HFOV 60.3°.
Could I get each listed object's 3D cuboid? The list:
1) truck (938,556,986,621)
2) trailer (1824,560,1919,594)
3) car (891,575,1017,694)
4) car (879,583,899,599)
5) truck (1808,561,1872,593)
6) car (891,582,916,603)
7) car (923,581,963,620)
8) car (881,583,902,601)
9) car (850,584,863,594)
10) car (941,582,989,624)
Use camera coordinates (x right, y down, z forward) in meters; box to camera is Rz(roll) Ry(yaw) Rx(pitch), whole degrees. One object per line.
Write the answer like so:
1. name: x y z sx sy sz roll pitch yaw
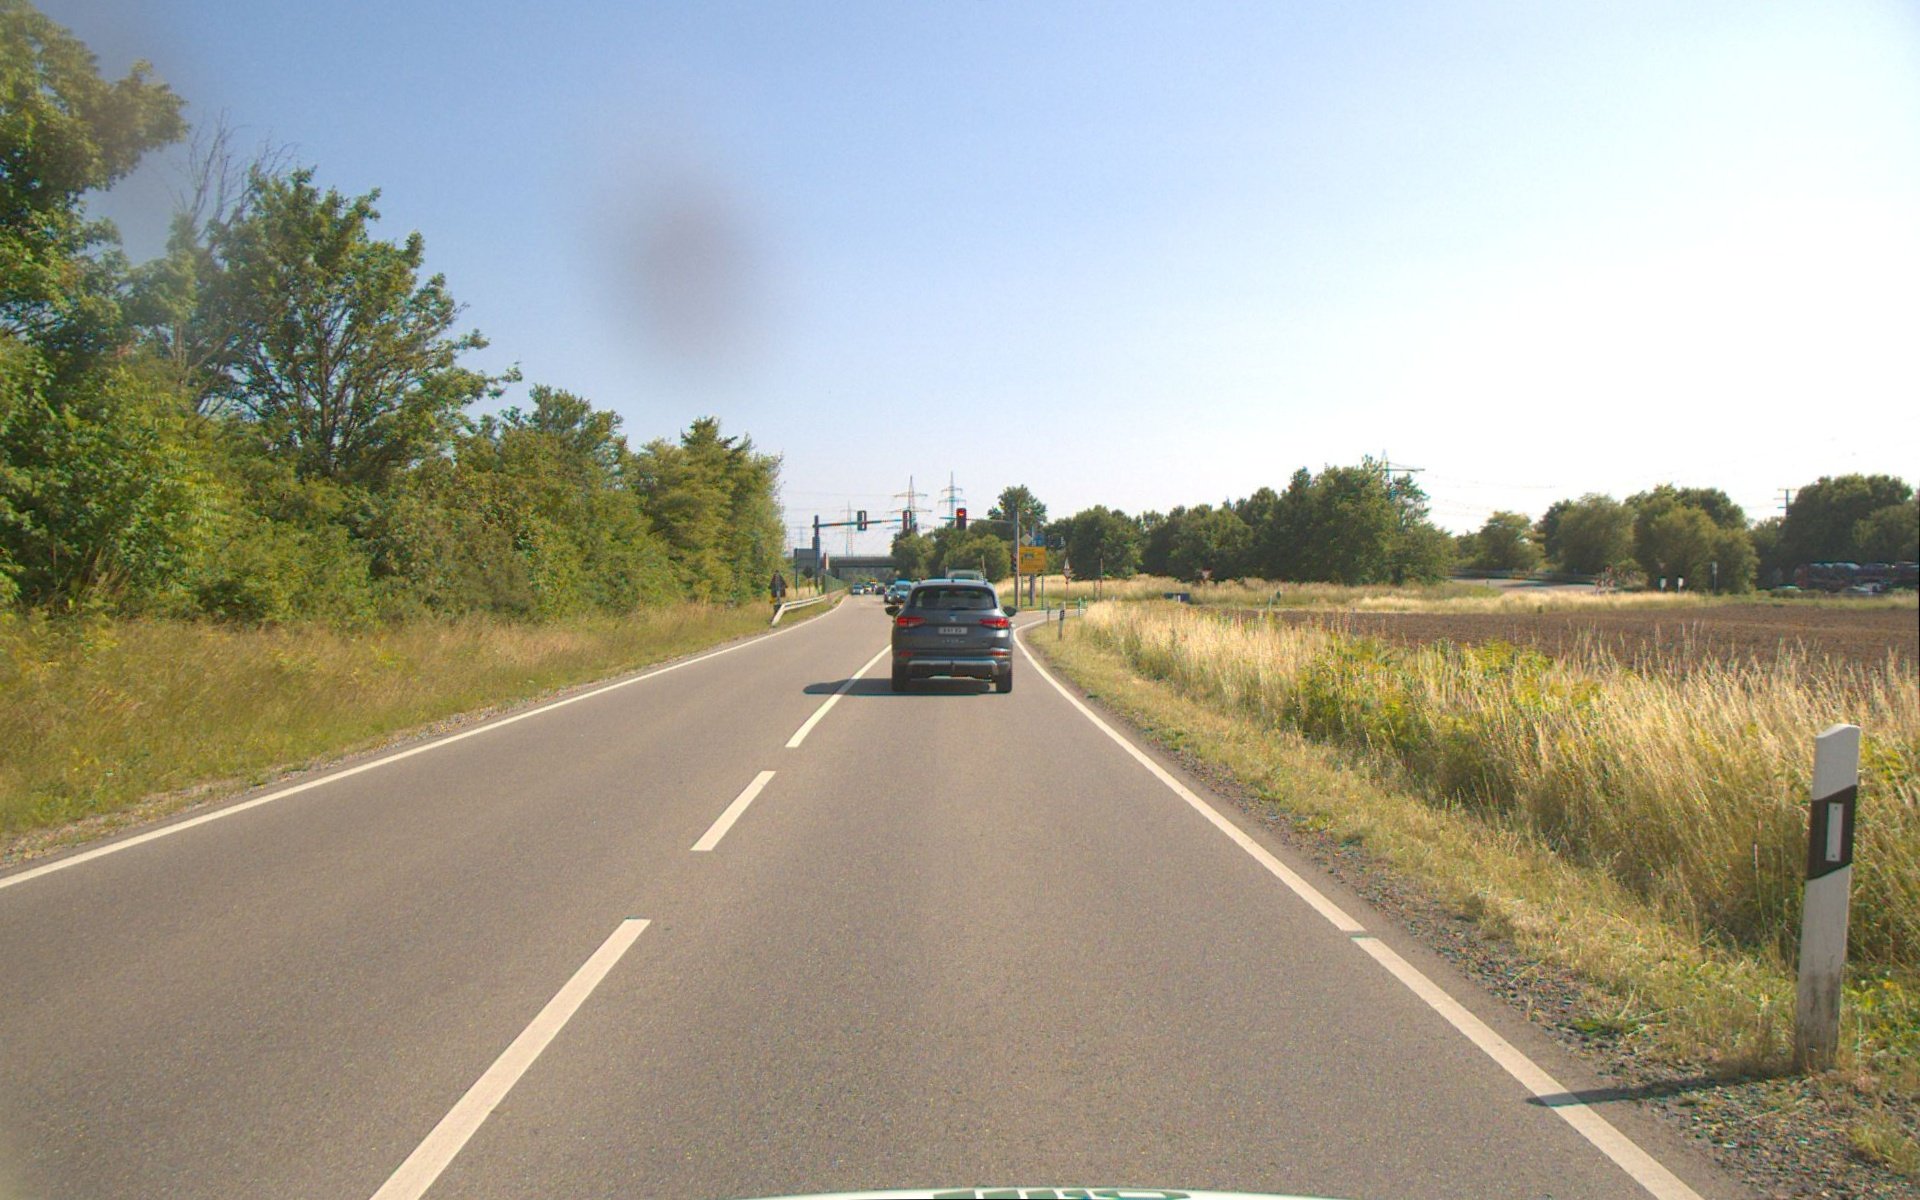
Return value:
1. truck: 0.096 -0.573 83.327 2.289 3.119 5.809 1 0 0
2. trailer: 94.411 -2.372 170.556 3.218 3.324 13.449 0 1 -2
3. car: -0.118 0.445 24.921 1.749 1.657 3.999 0 1 -1
4. car: -6.392 -0.832 148.047 1.651 1.404 3.530 1 1 -4
5. truck: 94.196 -2.492 177.166 3.218 3.324 6.427 0 1 -2
6. car: -4.397 -0.598 127.884 1.780 1.567 3.996 0 1 -5
7. car: -0.792 0.014 75.597 1.749 1.705 3.999 0 1 -1
8. car: -5.824 -0.682 140.657 1.651 1.404 3.530 1 1 -4
9. car: -15.143 -1.617 242.679 1.788 1.456 3.996 0 1 -5
10. car: 0.160 0.082 63.797 1.749 1.570 3.999 0 1 -1
